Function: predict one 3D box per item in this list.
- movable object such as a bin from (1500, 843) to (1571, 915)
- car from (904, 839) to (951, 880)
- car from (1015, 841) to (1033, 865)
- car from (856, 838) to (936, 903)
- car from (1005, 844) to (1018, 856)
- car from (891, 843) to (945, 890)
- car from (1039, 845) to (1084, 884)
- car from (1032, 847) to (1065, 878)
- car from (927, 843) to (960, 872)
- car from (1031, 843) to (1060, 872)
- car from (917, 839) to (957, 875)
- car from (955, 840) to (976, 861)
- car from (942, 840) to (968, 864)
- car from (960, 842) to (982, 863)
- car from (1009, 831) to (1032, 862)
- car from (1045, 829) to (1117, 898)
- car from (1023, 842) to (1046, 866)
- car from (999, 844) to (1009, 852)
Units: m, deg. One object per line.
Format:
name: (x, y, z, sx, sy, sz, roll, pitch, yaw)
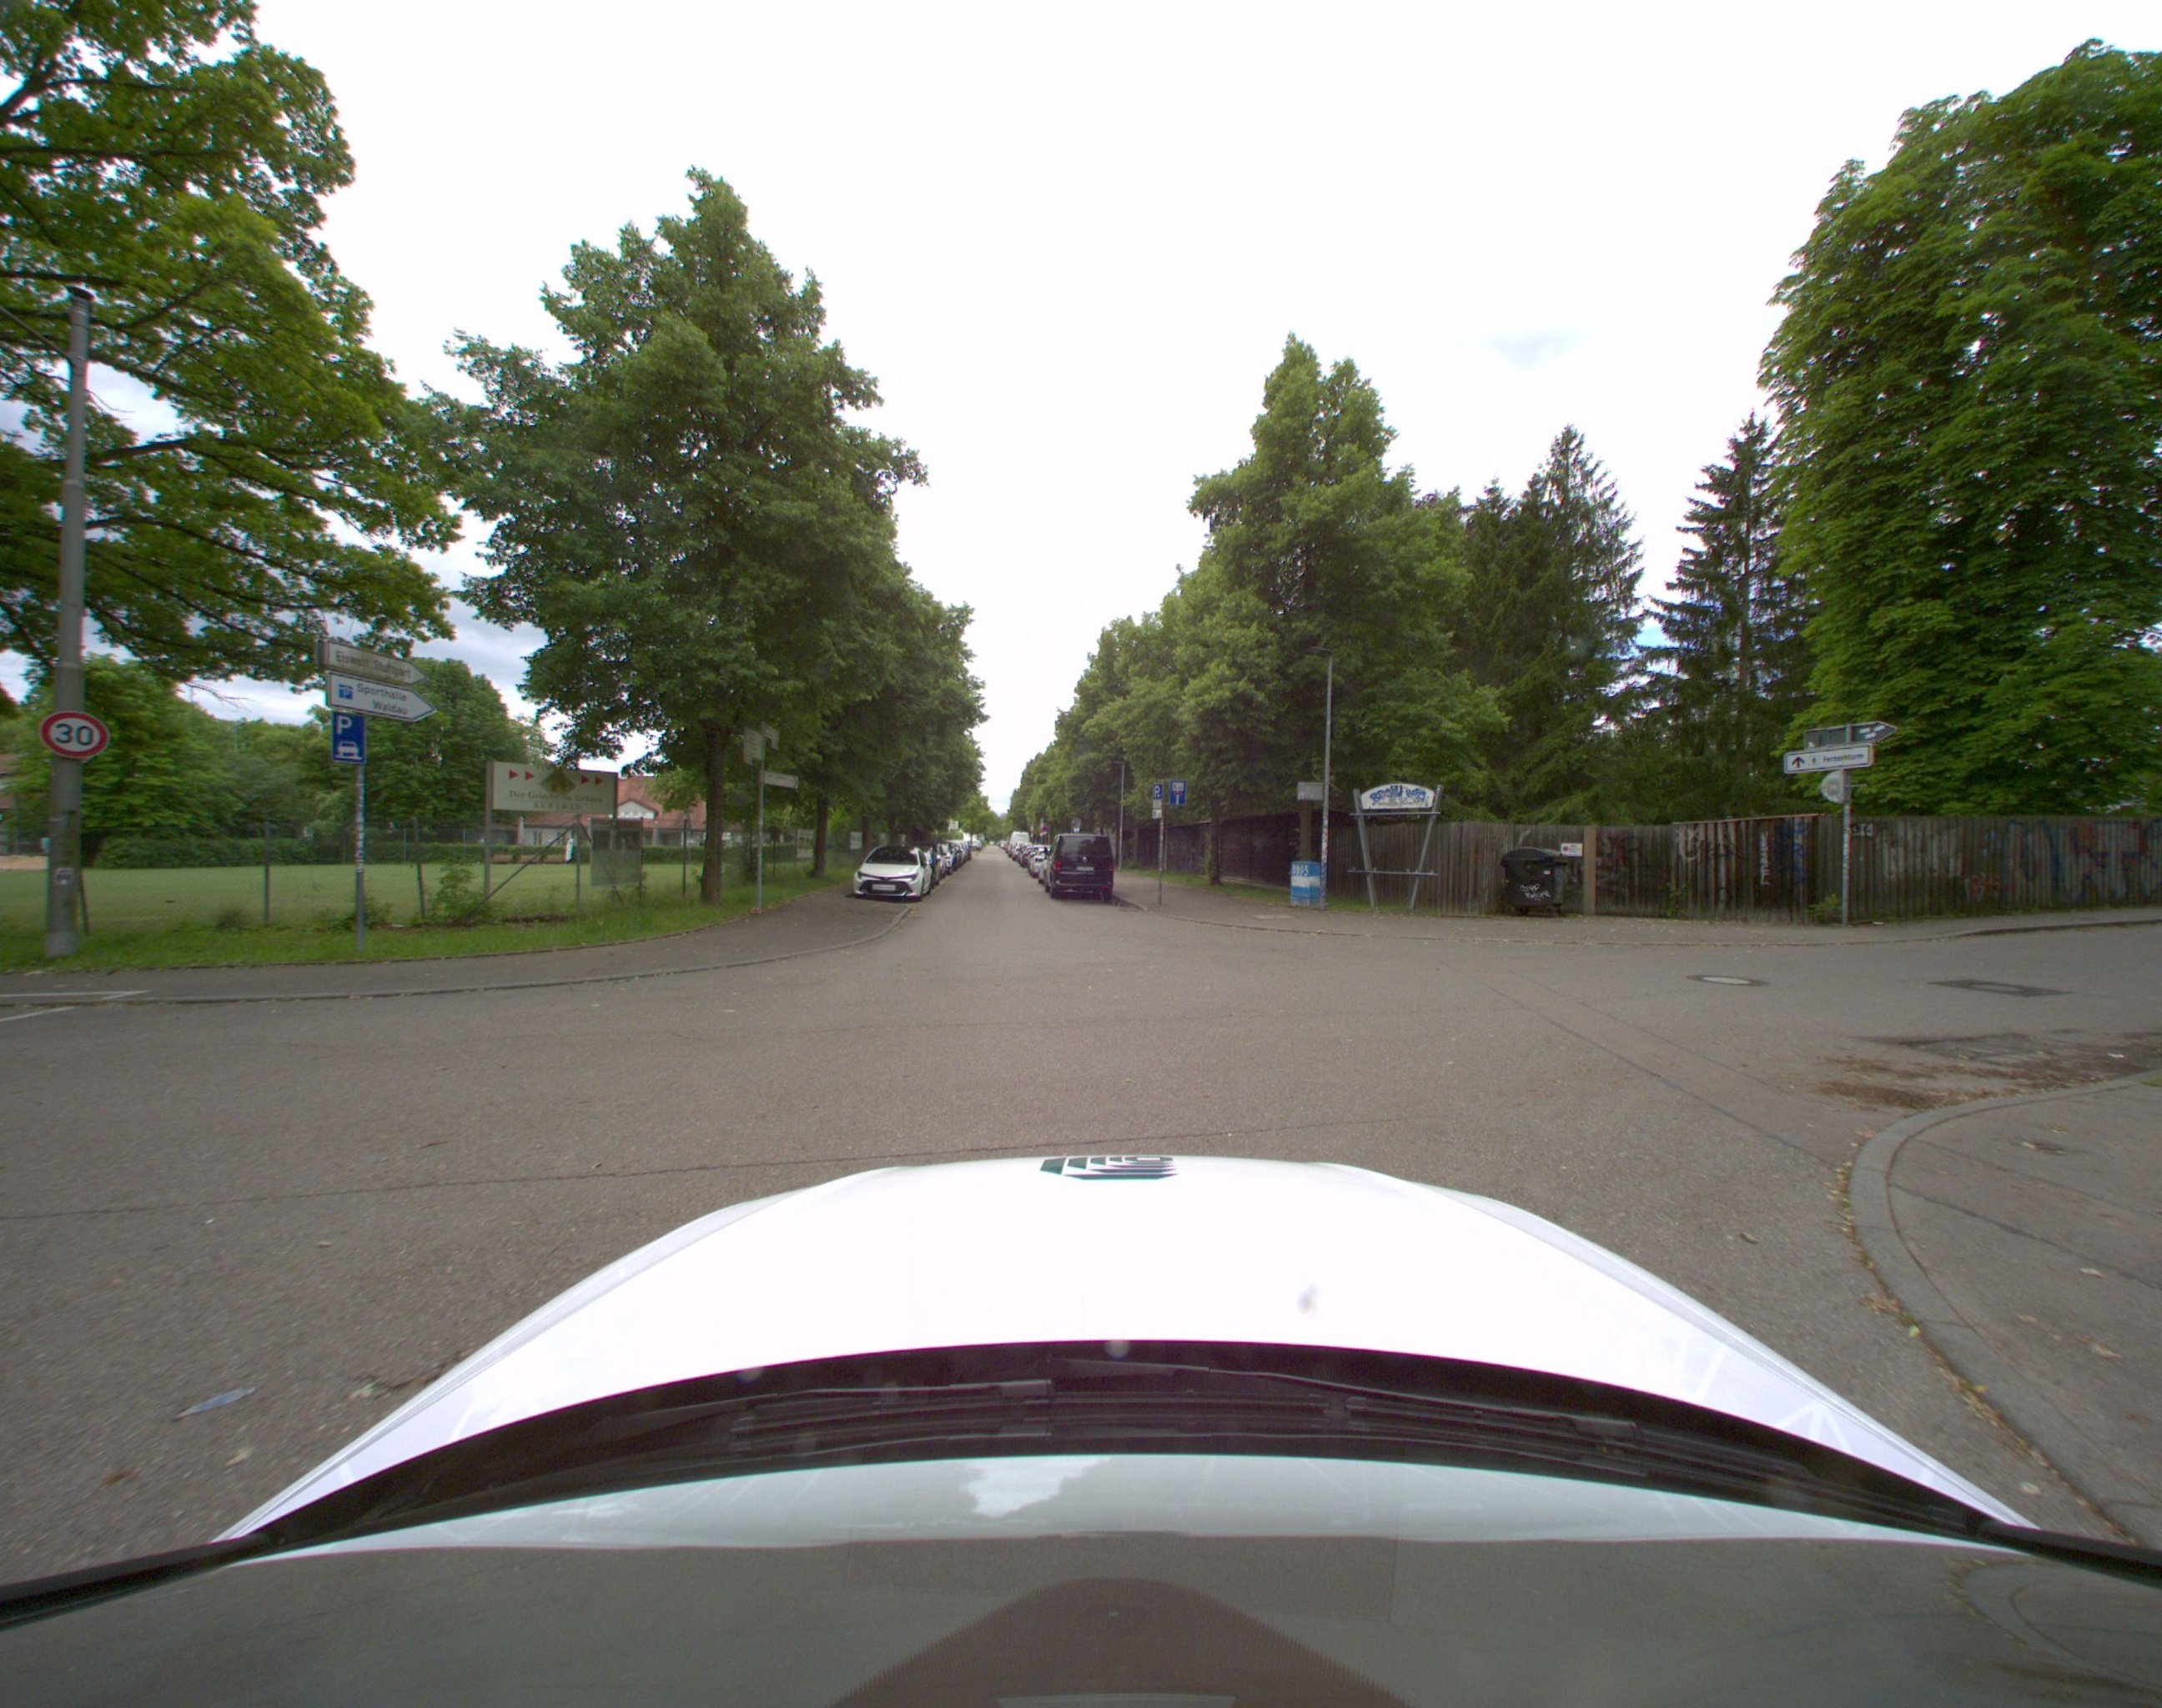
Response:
movable object such as a bin: (9.541, 0.503, 17.074, 1.065, 1.442, 1.294, -1, -1, 40)
car: (-6.541, 0.229, 35.081, 1.690, 1.596, 3.989, 3, 0, -8)
car: (-4.869, -0.096, 69.737, 1.466, 1.967, 3.184, 0, 0, -4)
car: (-5.047, 0.409, 22.734, 1.764, 1.596, 4.204, 3, 0, -8)
car: (-12.110, -0.727, 142.550, 1.988, 2.014, 3.996, 0, -1, -2)
car: (-5.610, 0.384, 28.339, 1.544, 1.455, 3.655, 3, 0, -8)
car: (-0.799, 0.374, 32.101, 1.594, 1.481, 3.515, 0, 0, -4)
car: (-1.618, 0.387, 39.711, 1.466, 1.481, 3.184, 0, 0, -4)
car: (-7.488, 0.172, 44.431, 1.592, 1.457, 3.185, 3, 0, -8)
car: (-1.980, 0.161, 44.847, 1.466, 1.531, 3.184, 0, 0, -4)
car: (-6.990, 0.114, 39.794, 1.690, 1.596, 3.989, 3, 0, -8)
car: (-9.117, -0.270, 64.463, 1.592, 1.559, 3.185, -1, 0, -8)
car: (-8.608, -0.132, 55.688, 1.592, 1.559, 3.185, 3, 0, -8)
car: (-8.190, -0.123, 60.797, 1.466, 1.481, 3.184, 0, 0, -4)
car: (-6.157, -0.774, 82.959, 2.180, 3.015, 4.889, 0, 0, -4)
car: (-0.079, 0.262, 25.731, 1.984, 2.013, 4.102, 0, 0, -4)
car: (-3.068, 0.014, 53.651, 1.466, 1.531, 3.184, 0, 0, -4)
car: (-16.667, -1.279, 175.699, 1.893, 1.706, 4.060, 0, -1, -2)
